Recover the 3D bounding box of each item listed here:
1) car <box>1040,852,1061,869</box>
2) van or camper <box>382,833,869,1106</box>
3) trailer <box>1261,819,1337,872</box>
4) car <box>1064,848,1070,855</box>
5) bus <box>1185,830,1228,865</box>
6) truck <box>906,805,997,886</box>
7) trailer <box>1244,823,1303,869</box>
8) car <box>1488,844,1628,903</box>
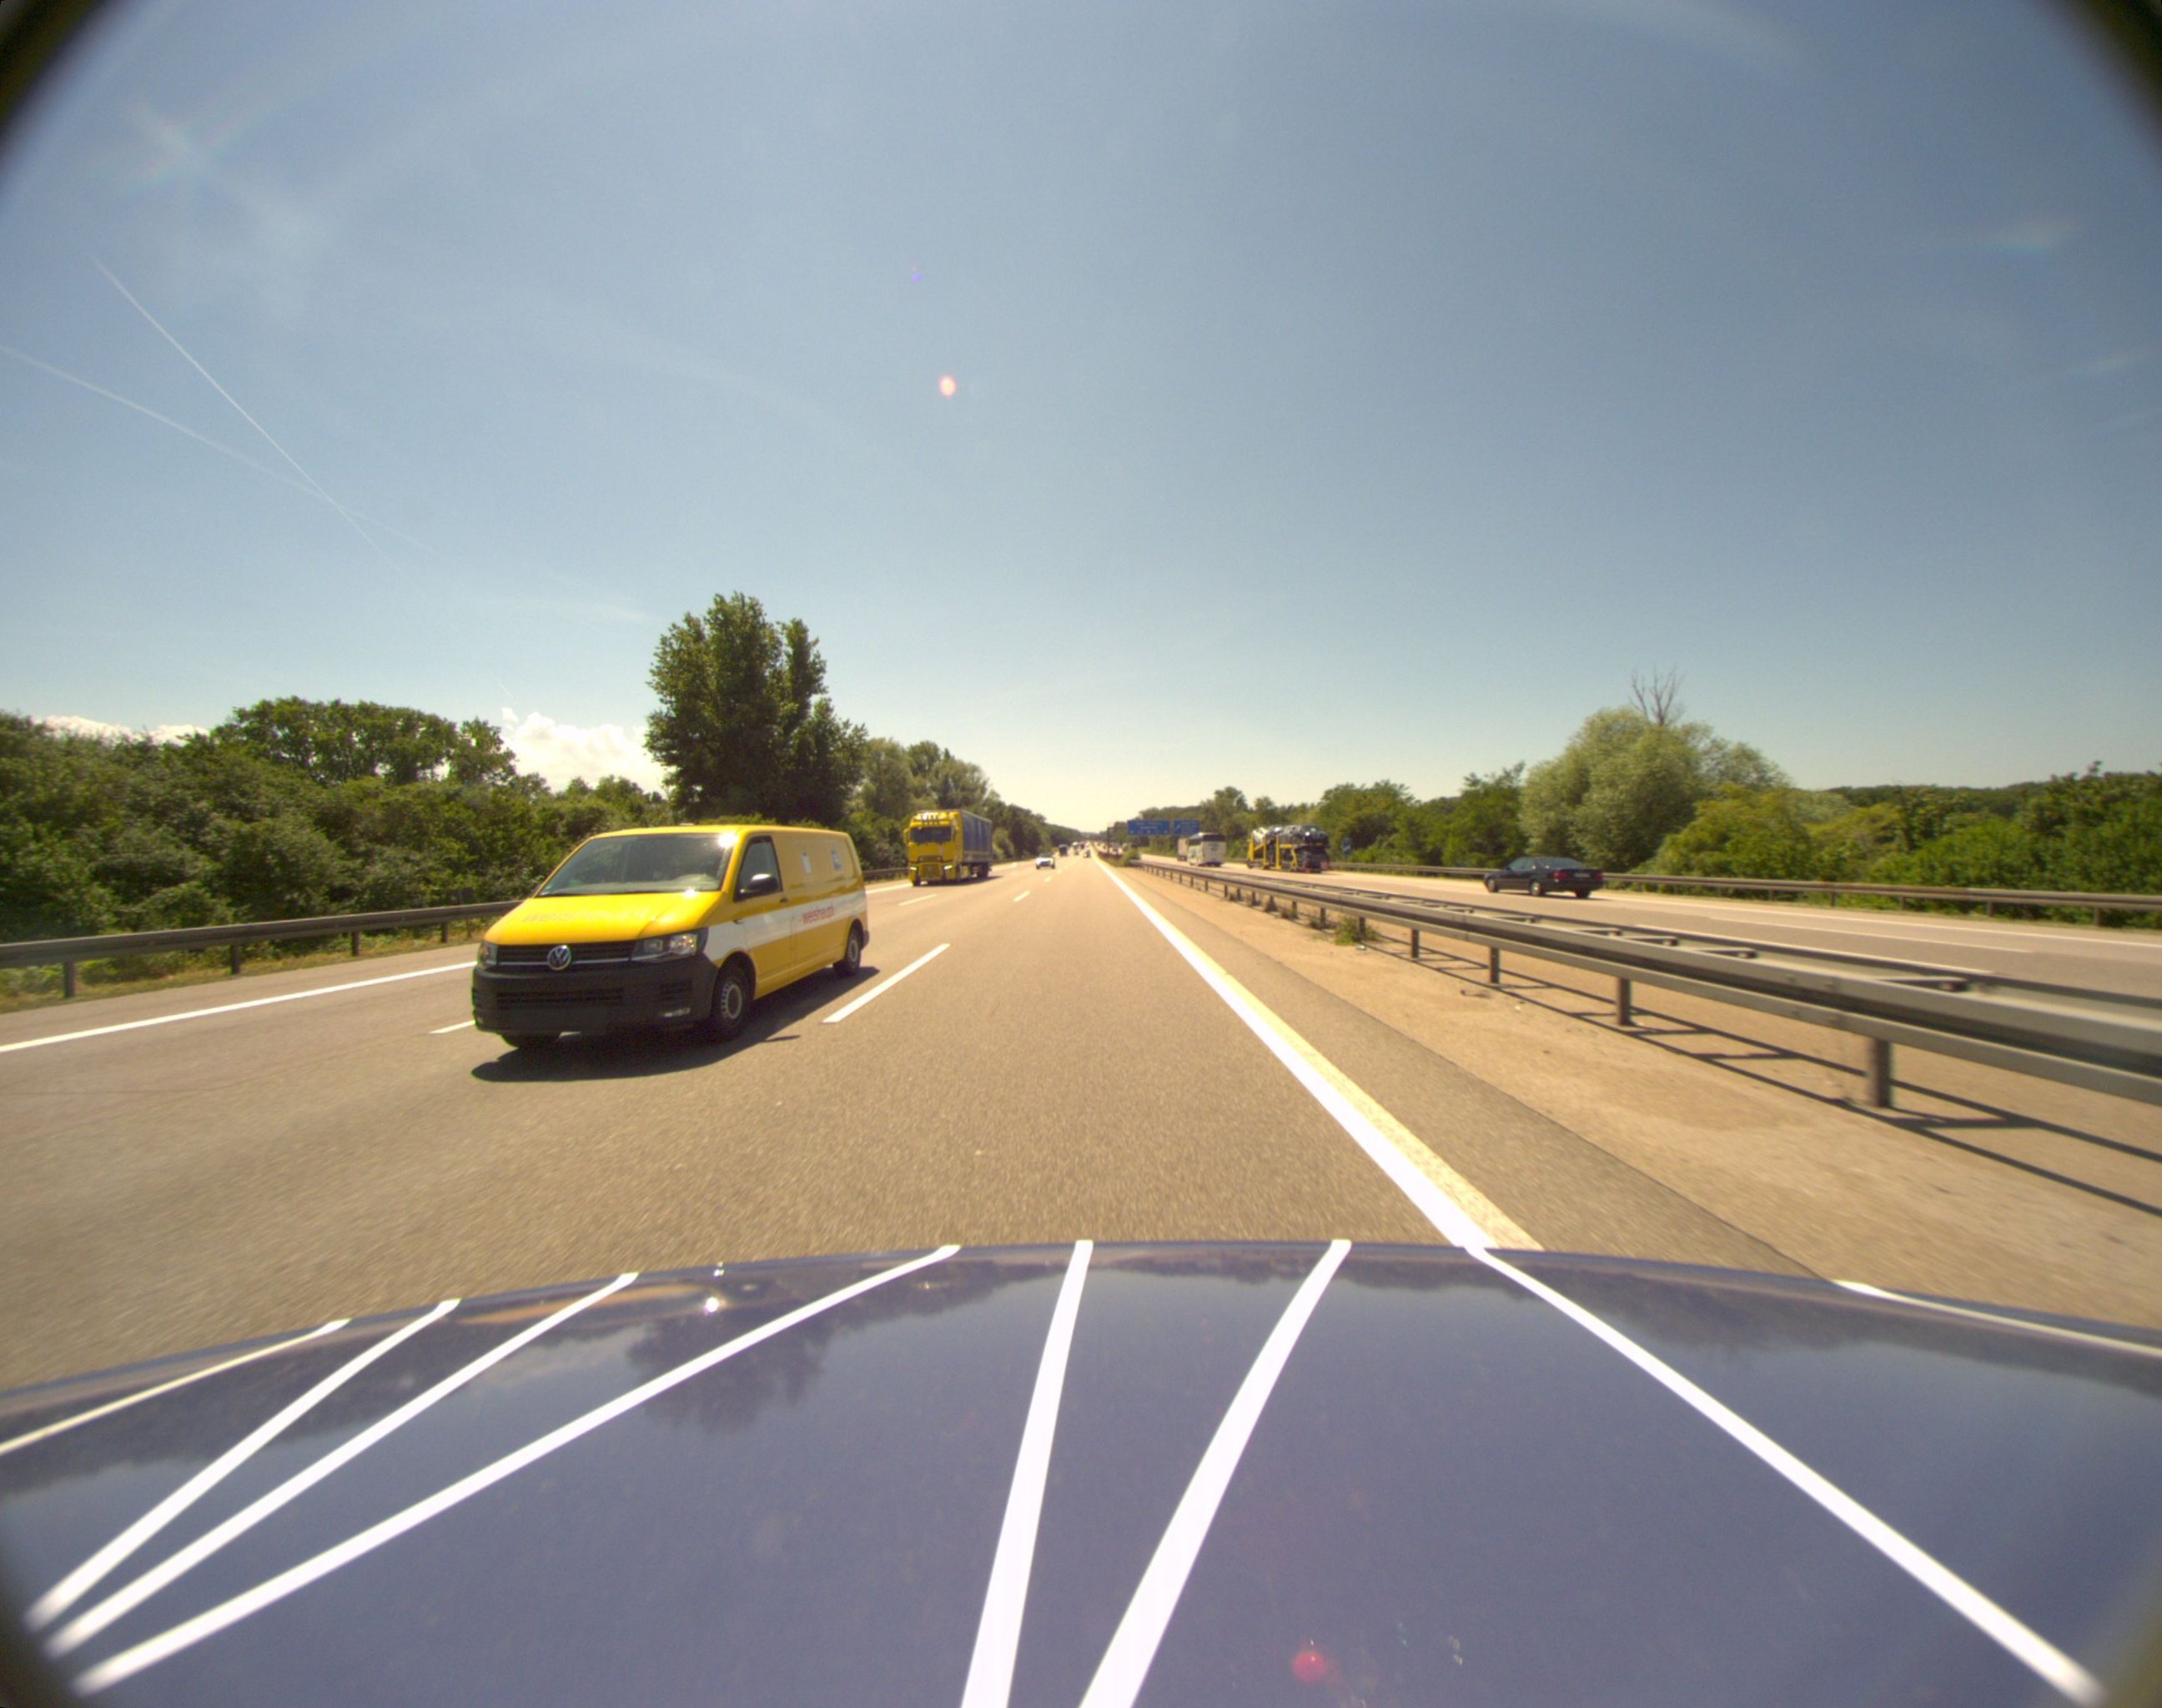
[{"bbox_3d":[-3.009,0.633,76.611,1.845,1.565,3.999,-2,1,1],"label":"car"},{"bbox_3d":[-3.959,0.816,7.944,1.998,1.898,4.970,-2,0,0],"label":"van or camper"},{"bbox_3d":[17.754,-0.694,62.852,2.928,3.945,11.650,1,1,0],"label":"trailer"},{"bbox_3d":[-4.574,-0.810,243.657,1.999,2.002,3.999,0,1,-1],"label":"car"},{"bbox_3d":[13.749,-0.703,84.420,2.701,3.563,12.792,1,0,1],"label":"bus"},{"bbox_3d":[-7.732,-0.589,48.398,2.852,4.233,16.787,-1,1,0],"label":"truck"},{"bbox_3d":[17.830,-0.694,71.184,2.928,3.945,10.535,1,1,0],"label":"trailer"},{"bbox_3d":[16.881,0.617,27.240,1.999,1.861,4.580,3,1,-1],"label":"car"}]
